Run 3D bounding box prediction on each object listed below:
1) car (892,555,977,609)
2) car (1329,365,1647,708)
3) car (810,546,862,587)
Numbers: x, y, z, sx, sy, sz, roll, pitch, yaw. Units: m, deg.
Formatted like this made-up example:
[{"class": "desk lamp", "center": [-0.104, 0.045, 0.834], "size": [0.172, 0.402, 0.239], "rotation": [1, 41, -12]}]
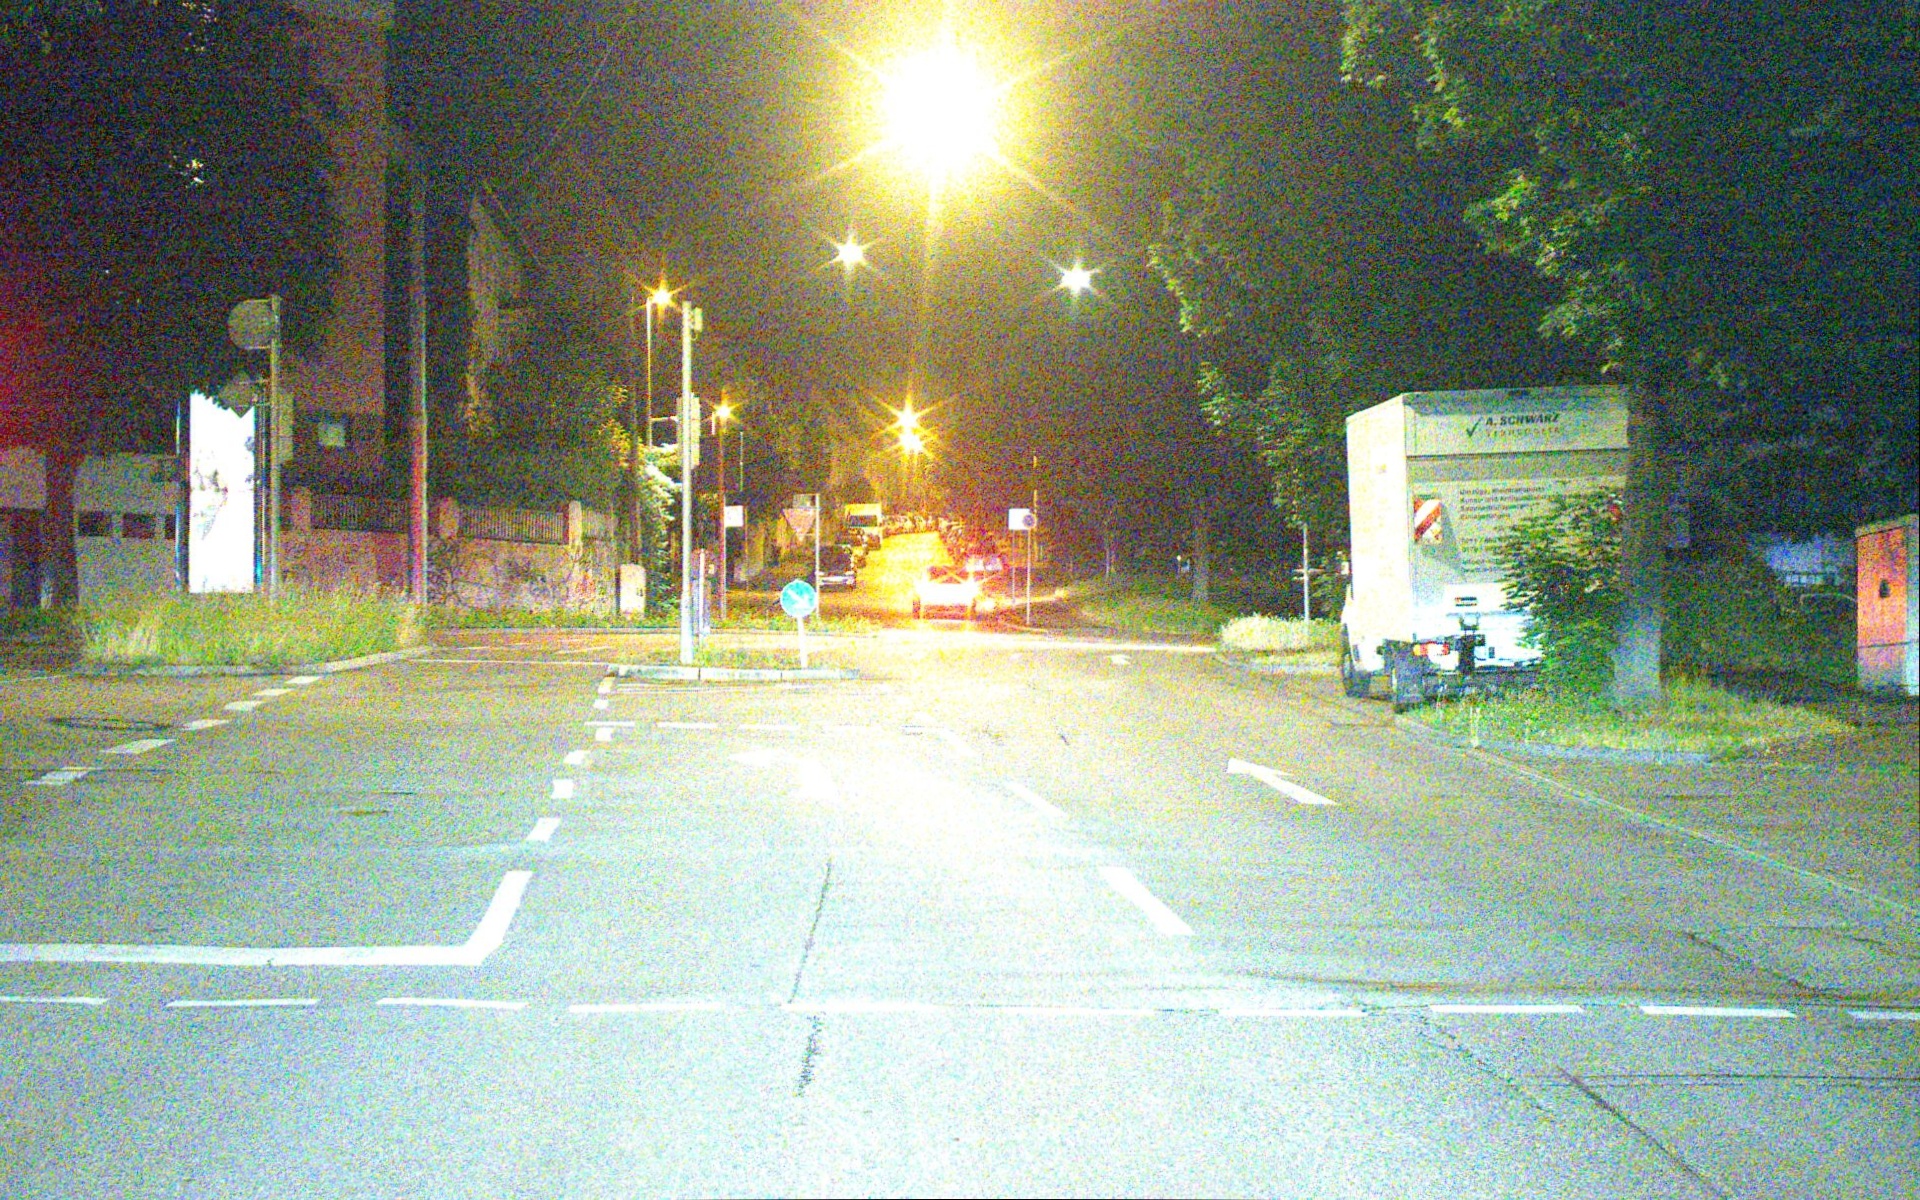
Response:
[{"class": "car", "center": [-0.747, -0.525, 97.964], "size": [1.775, 1.481, 4.001], "rotation": [1, 1, -10]}, {"class": "car", "center": [5.121, -0.613, 34.236], "size": [2.297, 3.082, 5.840], "rotation": [-1, 1, 1]}, {"class": "car", "center": [-4.845, -1.311, 134.380], "size": [1.908, 1.552, 3.904], "rotation": [1, 1, -1]}]
